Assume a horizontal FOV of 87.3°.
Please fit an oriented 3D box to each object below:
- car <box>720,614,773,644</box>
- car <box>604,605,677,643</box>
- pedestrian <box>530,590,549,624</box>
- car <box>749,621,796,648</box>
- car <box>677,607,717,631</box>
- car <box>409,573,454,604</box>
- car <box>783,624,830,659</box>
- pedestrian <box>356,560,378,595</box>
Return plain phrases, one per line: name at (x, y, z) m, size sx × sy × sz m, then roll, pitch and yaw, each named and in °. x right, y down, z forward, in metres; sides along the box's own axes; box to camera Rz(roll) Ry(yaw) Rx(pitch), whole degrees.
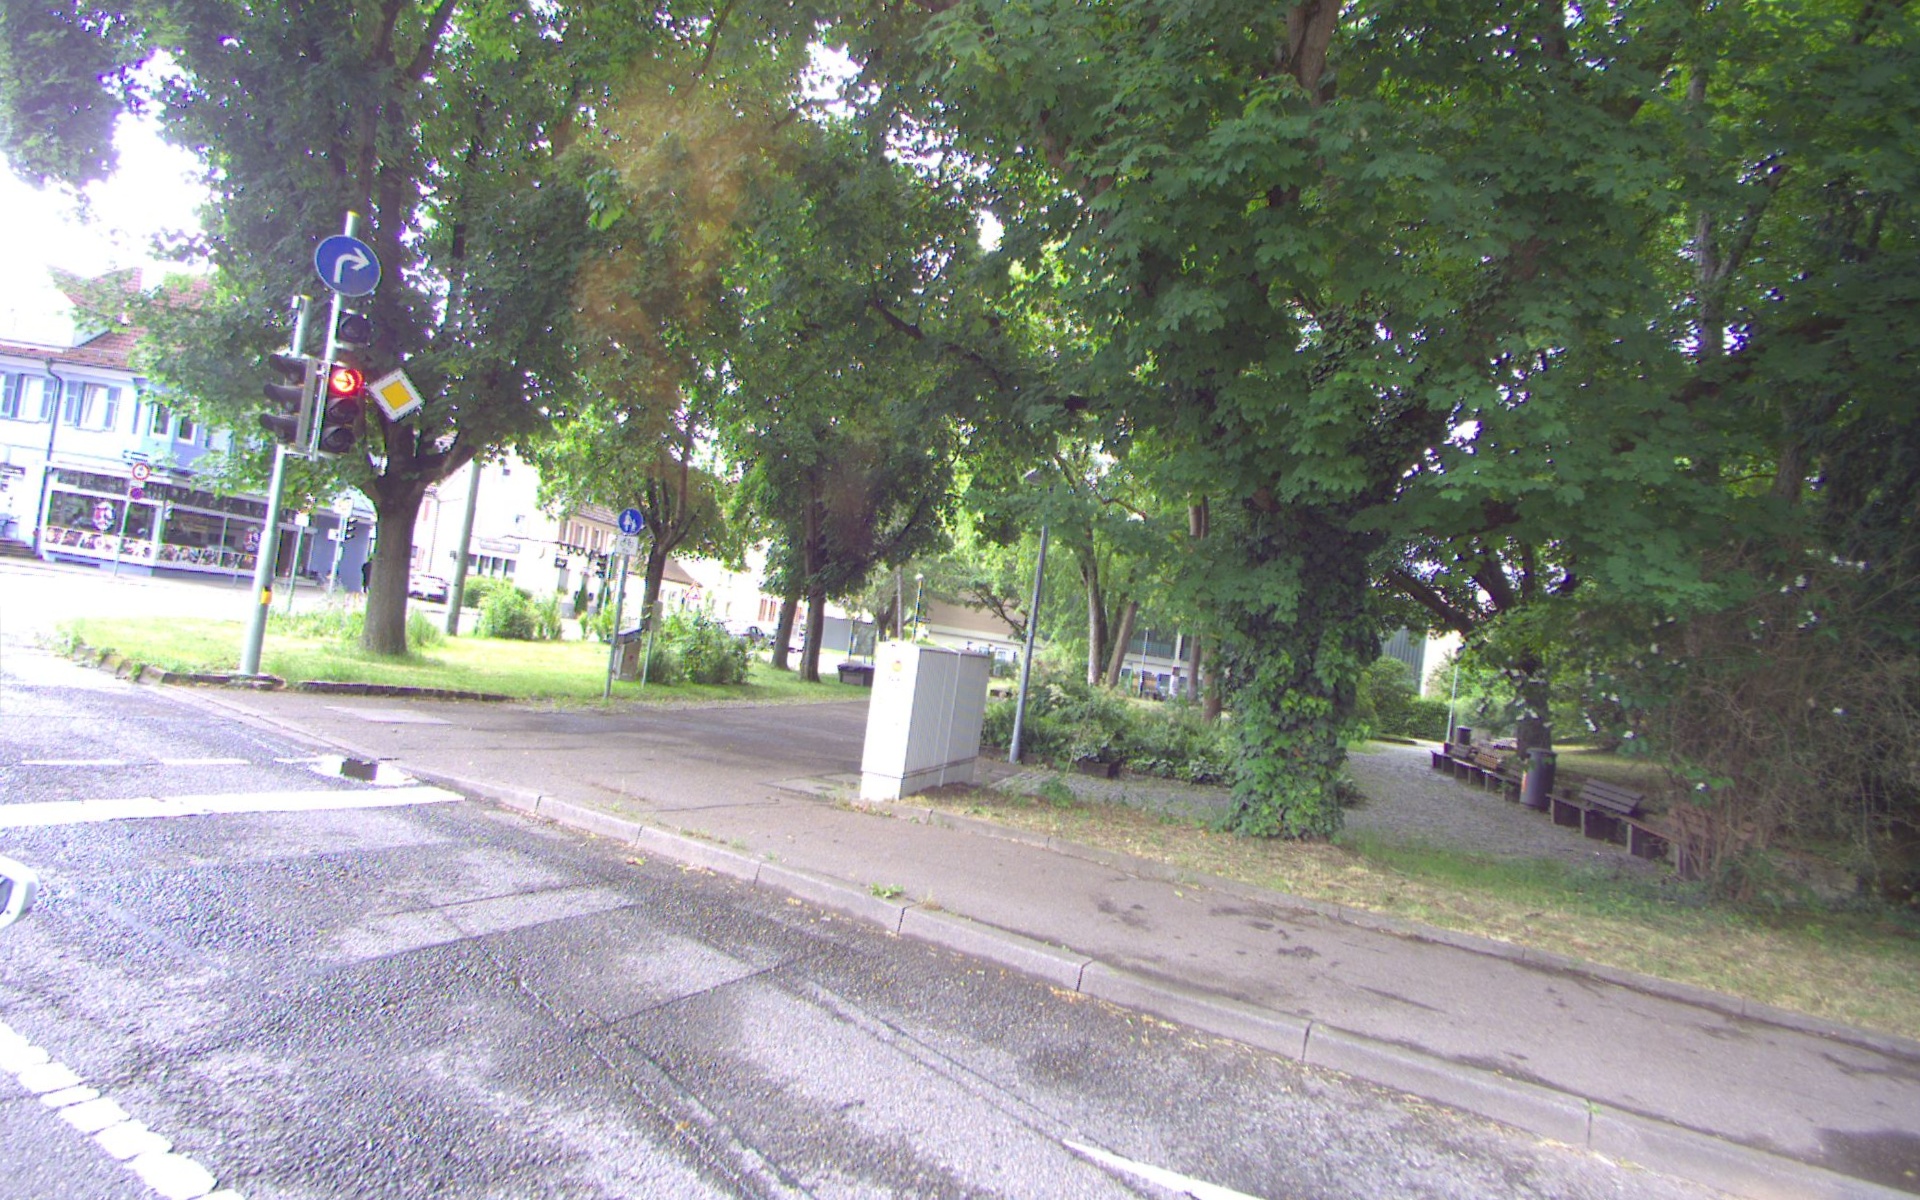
car at (-11.572, 1.591, 54.823) m, size 1.530 × 1.336 × 3.514 m, roll 7°, pitch -2°, yaw 9°
car at (-14.014, 1.085, 44.359) m, size 1.530 × 1.336 × 3.514 m, roll 7°, pitch -2°, yaw 9°
pedestrian at (-22.055, 0.370, 52.780) m, size 0.601 × 1.668 × 0.609 m, roll 7°, pitch -1°, yaw -5°
car at (-11.170, 2.064, 60.108) m, size 1.530 × 1.336 × 3.514 m, roll 7°, pitch -2°, yaw 8°
car at (-19.373, 1.435, 74.251) m, size 1.528 × 1.436 × 4.005 m, roll 7°, pitch -2°, yaw 4°
car at (-27.874, -0.609, 53.147) m, size 1.479 × 1.384 × 3.166 m, roll 8°, pitch -2°, yaw -19°
car at (-10.059, 2.752, 66.177) m, size 1.750 × 2.037 × 4.005 m, roll 7°, pitch -2°, yaw 7°
pedestrian at (-27.503, -1.039, 46.680) m, size 0.576 × 1.535 × 0.460 m, roll 7°, pitch -1°, yaw 11°
